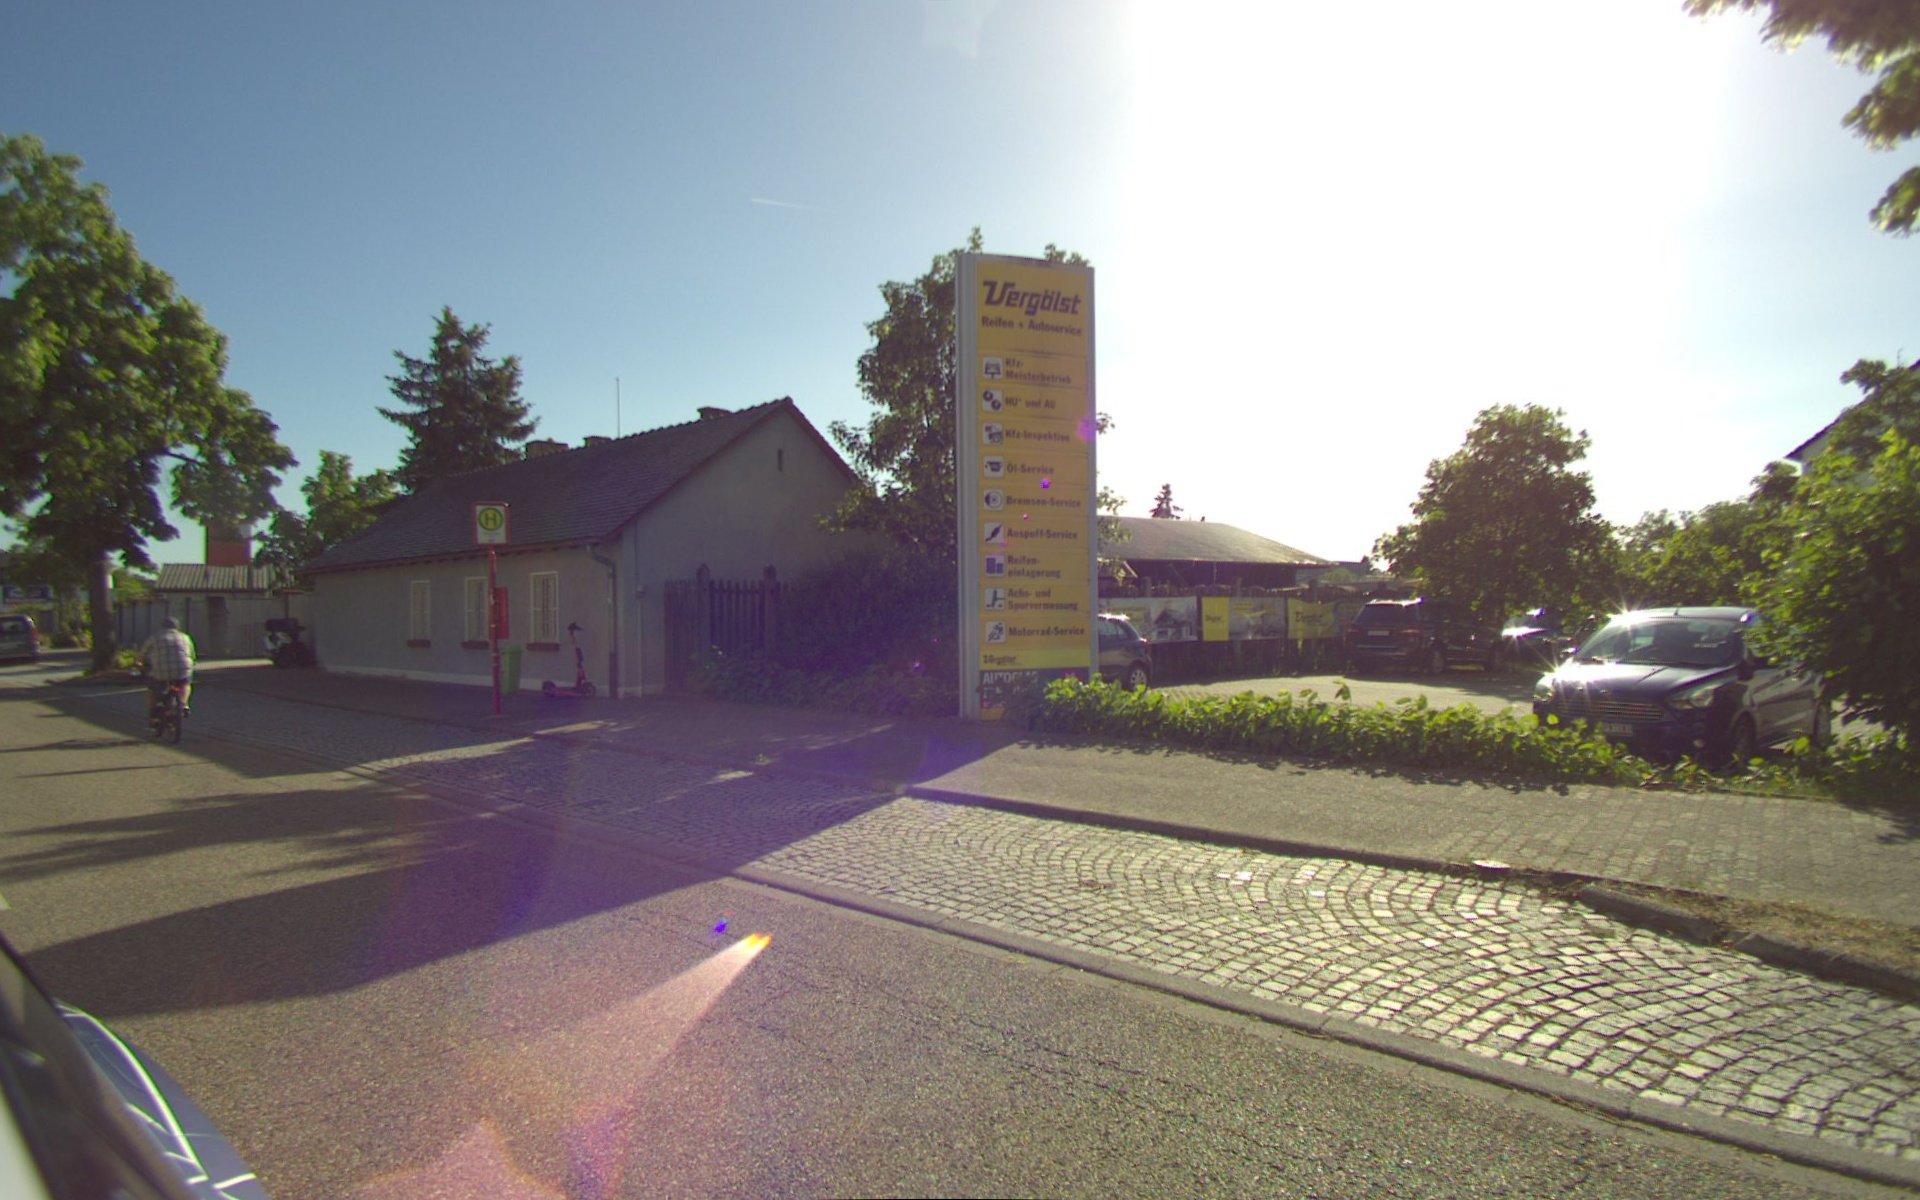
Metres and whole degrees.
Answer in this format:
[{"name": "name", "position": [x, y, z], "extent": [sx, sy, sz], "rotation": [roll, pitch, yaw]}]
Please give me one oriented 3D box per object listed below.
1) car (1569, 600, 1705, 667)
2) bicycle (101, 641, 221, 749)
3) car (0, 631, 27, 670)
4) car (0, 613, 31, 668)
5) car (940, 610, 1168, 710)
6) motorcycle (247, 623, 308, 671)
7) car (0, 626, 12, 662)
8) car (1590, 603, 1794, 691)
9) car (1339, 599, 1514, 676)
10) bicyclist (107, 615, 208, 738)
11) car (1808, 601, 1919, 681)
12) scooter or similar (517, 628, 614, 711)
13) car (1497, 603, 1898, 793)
[{"name": "car", "position": [17.896, 0.838, 26.704], "extent": [4.006, 1.651, 1.778], "rotation": [0, -1, -37]}, {"name": "bicycle", "position": [-10.600, 1.201, 13.381], "extent": [2.604, 1.249, 0.830], "rotation": [-1, -3, 44]}, {"name": "car", "position": [-38.672, 2.018, 40.262], "extent": [4.612, 1.459, 1.757], "rotation": [-2, 1, 41]}, {"name": "car", "position": [-35.219, 1.485, 36.826], "extent": [4.616, 1.863, 1.756], "rotation": [-2, 1, 44]}, {"name": "car", "position": [1.729, 0.960, 17.721], "extent": [4.012, 1.527, 1.775], "rotation": [0, -1, -44]}, {"name": "motorcycle", "position": [-18.855, 1.268, 27.938], "extent": [2.537, 1.242, 0.692], "rotation": [-2, 1, 40]}, {"name": "car", "position": [-42.176, 1.918, 43.363], "extent": [4.920, 1.459, 1.757], "rotation": [-2, 1, 41]}, {"name": "car", "position": [14.208, 0.837, 19.569], "extent": [4.386, 1.519, 2.004], "rotation": [0, -1, -37]}, {"name": "car", "position": [11.156, 0.832, 24.103], "extent": [4.262, 1.668, 2.004], "rotation": [0, -1, -37]}, {"name": "bicyclist", "position": [-10.718, 0.988, 13.515], "extent": [1.137, 1.554, 0.830], "rotation": [-1, -4, 43]}, {"name": "car", "position": [20.760, 0.864, 22.733], "extent": [4.006, 1.651, 1.778], "rotation": [0, -1, -37]}, {"name": "scooter or similar", "position": [-6.372, 1.107, 16.327], "extent": [1.568, 1.280, 0.479], "rotation": [-1, -1, 24]}, {"name": "car", "position": [7.527, 0.811, 10.215], "extent": [4.287, 1.519, 2.005], "rotation": [0, -1, -36]}]
